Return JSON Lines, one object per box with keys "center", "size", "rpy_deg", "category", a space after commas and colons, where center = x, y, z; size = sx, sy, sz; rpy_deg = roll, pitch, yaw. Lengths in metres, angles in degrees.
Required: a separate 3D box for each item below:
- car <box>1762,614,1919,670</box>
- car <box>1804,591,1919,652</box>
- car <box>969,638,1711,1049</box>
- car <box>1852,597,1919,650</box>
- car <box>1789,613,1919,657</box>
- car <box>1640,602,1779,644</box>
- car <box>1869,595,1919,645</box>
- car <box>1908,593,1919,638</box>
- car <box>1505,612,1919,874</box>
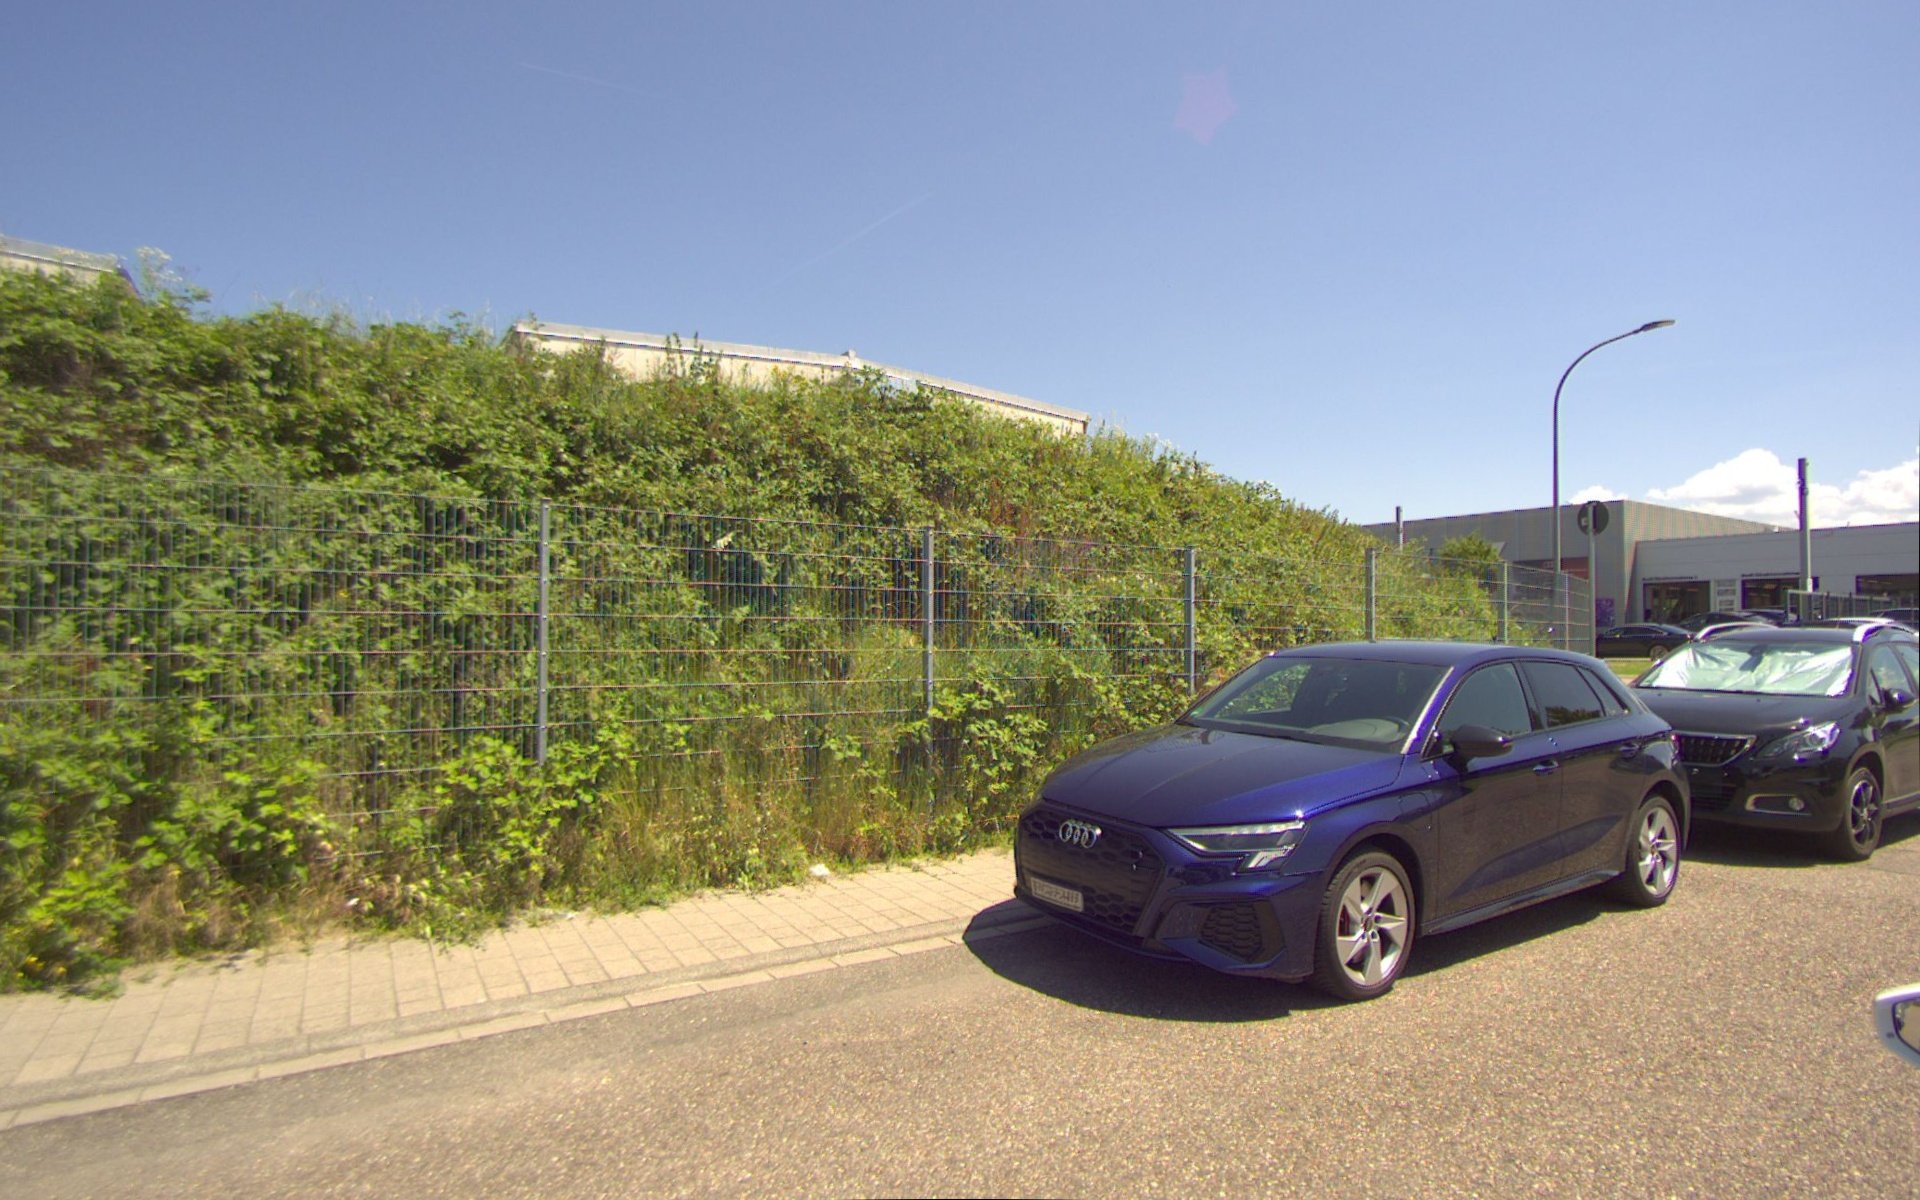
{"center": [28.242, 1.331, 31.529], "size": [1.979, 1.647, 4.413], "rpy_deg": [3, -4, -33], "category": "car"}
{"center": [34.222, 0.789, 36.343], "size": [1.978, 2.125, 5.290], "rpy_deg": [1, -2, -32], "category": "car"}
{"center": [2.190, 0.930, 5.373], "size": [4.102, 1.436, 1.646], "rpy_deg": [2, -3, -34], "category": "car"}
{"center": [36.349, 0.860, 37.226], "size": [1.978, 1.947, 4.563], "rpy_deg": [1, -2, -32], "category": "car"}
{"center": [31.955, 1.246, 34.946], "size": [1.979, 1.416, 4.413], "rpy_deg": [4, -4, -33], "category": "car"}
{"center": [32.004, 1.014, 43.017], "size": [1.979, 1.647, 4.413], "rpy_deg": [3, -4, -33], "category": "car"}
{"center": [38.398, 0.756, 38.524], "size": [1.978, 1.947, 4.858], "rpy_deg": [1, -2, -32], "category": "car"}
{"center": [43.491, 0.601, 42.290], "size": [1.978, 1.947, 4.858], "rpy_deg": [1, -2, -32], "category": "car"}
{"center": [6.389, 0.936, 7.933], "size": [4.217, 1.566, 1.824], "rpy_deg": [2, -3, -32], "category": "car"}
